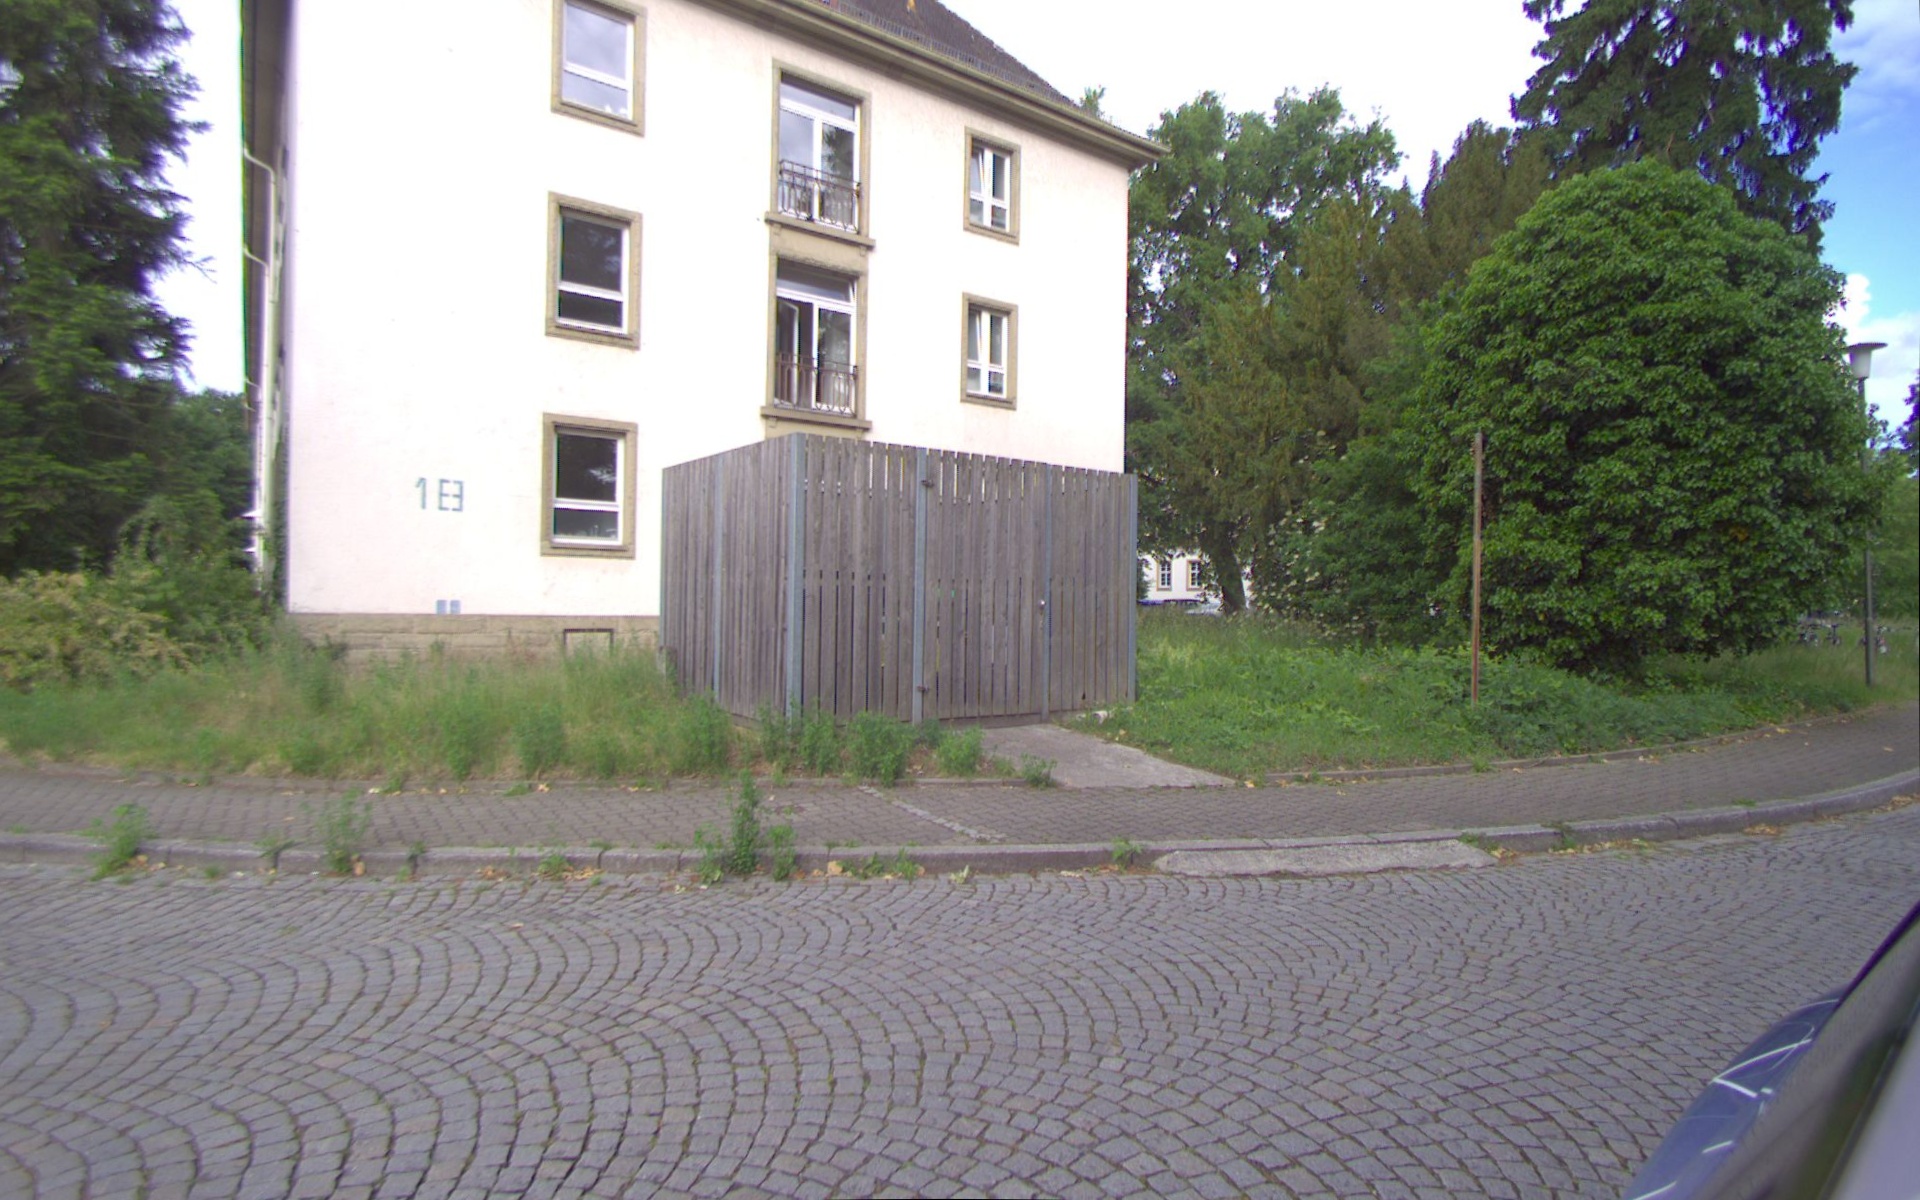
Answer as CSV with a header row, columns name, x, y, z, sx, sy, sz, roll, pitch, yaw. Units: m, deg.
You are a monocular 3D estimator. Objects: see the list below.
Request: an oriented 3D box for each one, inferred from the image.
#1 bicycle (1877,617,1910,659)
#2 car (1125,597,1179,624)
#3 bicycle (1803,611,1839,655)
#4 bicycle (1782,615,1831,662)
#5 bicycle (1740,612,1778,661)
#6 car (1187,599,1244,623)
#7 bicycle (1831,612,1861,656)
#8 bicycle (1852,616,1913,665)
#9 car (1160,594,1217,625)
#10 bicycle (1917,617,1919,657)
name,x,y,z,sx,sy,sz,roll,pitch,yaw
bicycle,24.339,0.973,26.401,0.475,1.020,1.645,0,1,37
car,11.539,0.627,60.619,3.188,1.585,1.384,1,0,-36
bicycle,23.193,0.876,27.286,0.474,1.126,1.745,0,0,32
bicycle,20.543,0.913,24.583,0.546,1.078,1.737,0,0,28
bicycle,20.411,0.909,25.833,1.725,1.186,0.550,1,0,-44
car,14.054,0.599,55.620,3.188,1.233,1.297,1,0,-36
bicycle,23.470,0.876,26.825,0.475,1.126,1.741,0,0,37
bicycle,21.677,0.925,23.809,0.612,1.078,1.807,0,0,28
car,13.007,0.530,57.668,3.188,1.682,1.439,1,0,-36
bicycle,24.853,0.976,25.820,0.475,1.020,1.645,0,1,37
